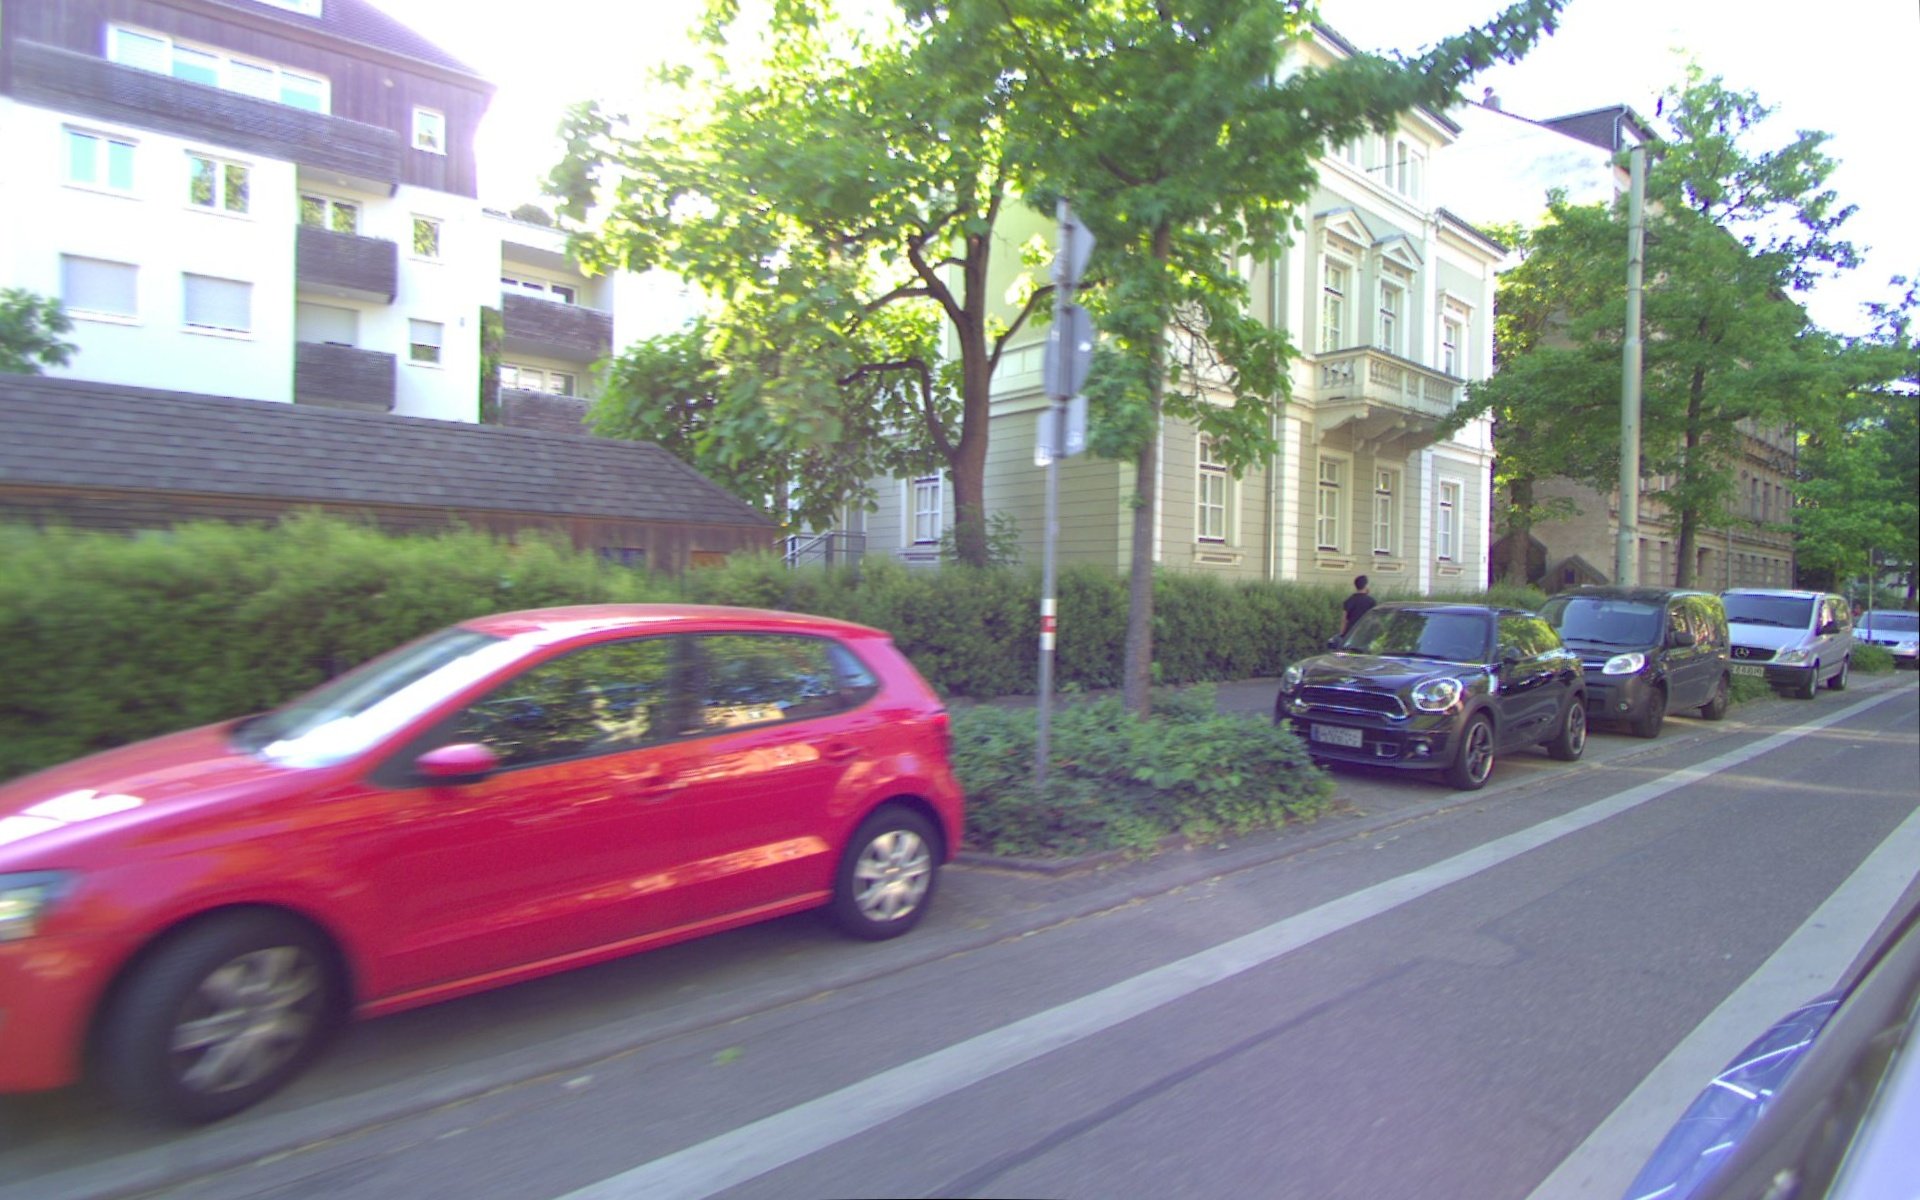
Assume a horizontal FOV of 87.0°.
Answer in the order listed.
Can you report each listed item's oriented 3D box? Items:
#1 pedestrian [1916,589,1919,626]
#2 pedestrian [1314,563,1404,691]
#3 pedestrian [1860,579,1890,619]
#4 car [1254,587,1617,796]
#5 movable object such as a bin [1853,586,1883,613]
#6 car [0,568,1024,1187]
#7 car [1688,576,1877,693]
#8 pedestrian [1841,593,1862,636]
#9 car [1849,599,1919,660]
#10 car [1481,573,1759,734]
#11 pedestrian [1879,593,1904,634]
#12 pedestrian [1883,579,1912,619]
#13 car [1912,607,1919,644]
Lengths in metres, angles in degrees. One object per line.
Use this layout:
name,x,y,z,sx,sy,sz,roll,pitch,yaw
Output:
pedestrian,46.976,0.351,49.113,0.589,1.816,0.728,0,-1,-37
pedestrian,5.703,0.369,14.474,0.821,1.733,0.831,2,1,-41
pedestrian,43.349,-0.051,47.955,0.948,1.815,0.729,1,2,-30
car,4.692,0.693,9.733,3.967,1.532,1.715,0,3,-42
movable object such as a bin,42.456,-0.028,47.315,1.278,1.217,0.642,1,2,-30
car,-1.737,0.662,4.163,3.910,1.440,1.706,0,4,-42
car,15.689,0.564,19.215,4.880,1.874,1.888,0,3,-41
pedestrian,38.768,0.619,44.006,0.716,1.816,0.599,0,-1,-43
car,27.445,0.812,29.334,4.167,1.587,1.888,0,3,-41
car,8.889,0.571,13.464,4.596,1.788,1.889,0,1,-41
pedestrian,40.163,0.561,43.634,0.842,1.731,0.726,0,-1,-44
pedestrian,43.932,-0.051,47.433,0.836,1.815,0.729,1,2,-30
car,37.854,1.007,38.531,4.035,1.384,1.888,0,3,-41
